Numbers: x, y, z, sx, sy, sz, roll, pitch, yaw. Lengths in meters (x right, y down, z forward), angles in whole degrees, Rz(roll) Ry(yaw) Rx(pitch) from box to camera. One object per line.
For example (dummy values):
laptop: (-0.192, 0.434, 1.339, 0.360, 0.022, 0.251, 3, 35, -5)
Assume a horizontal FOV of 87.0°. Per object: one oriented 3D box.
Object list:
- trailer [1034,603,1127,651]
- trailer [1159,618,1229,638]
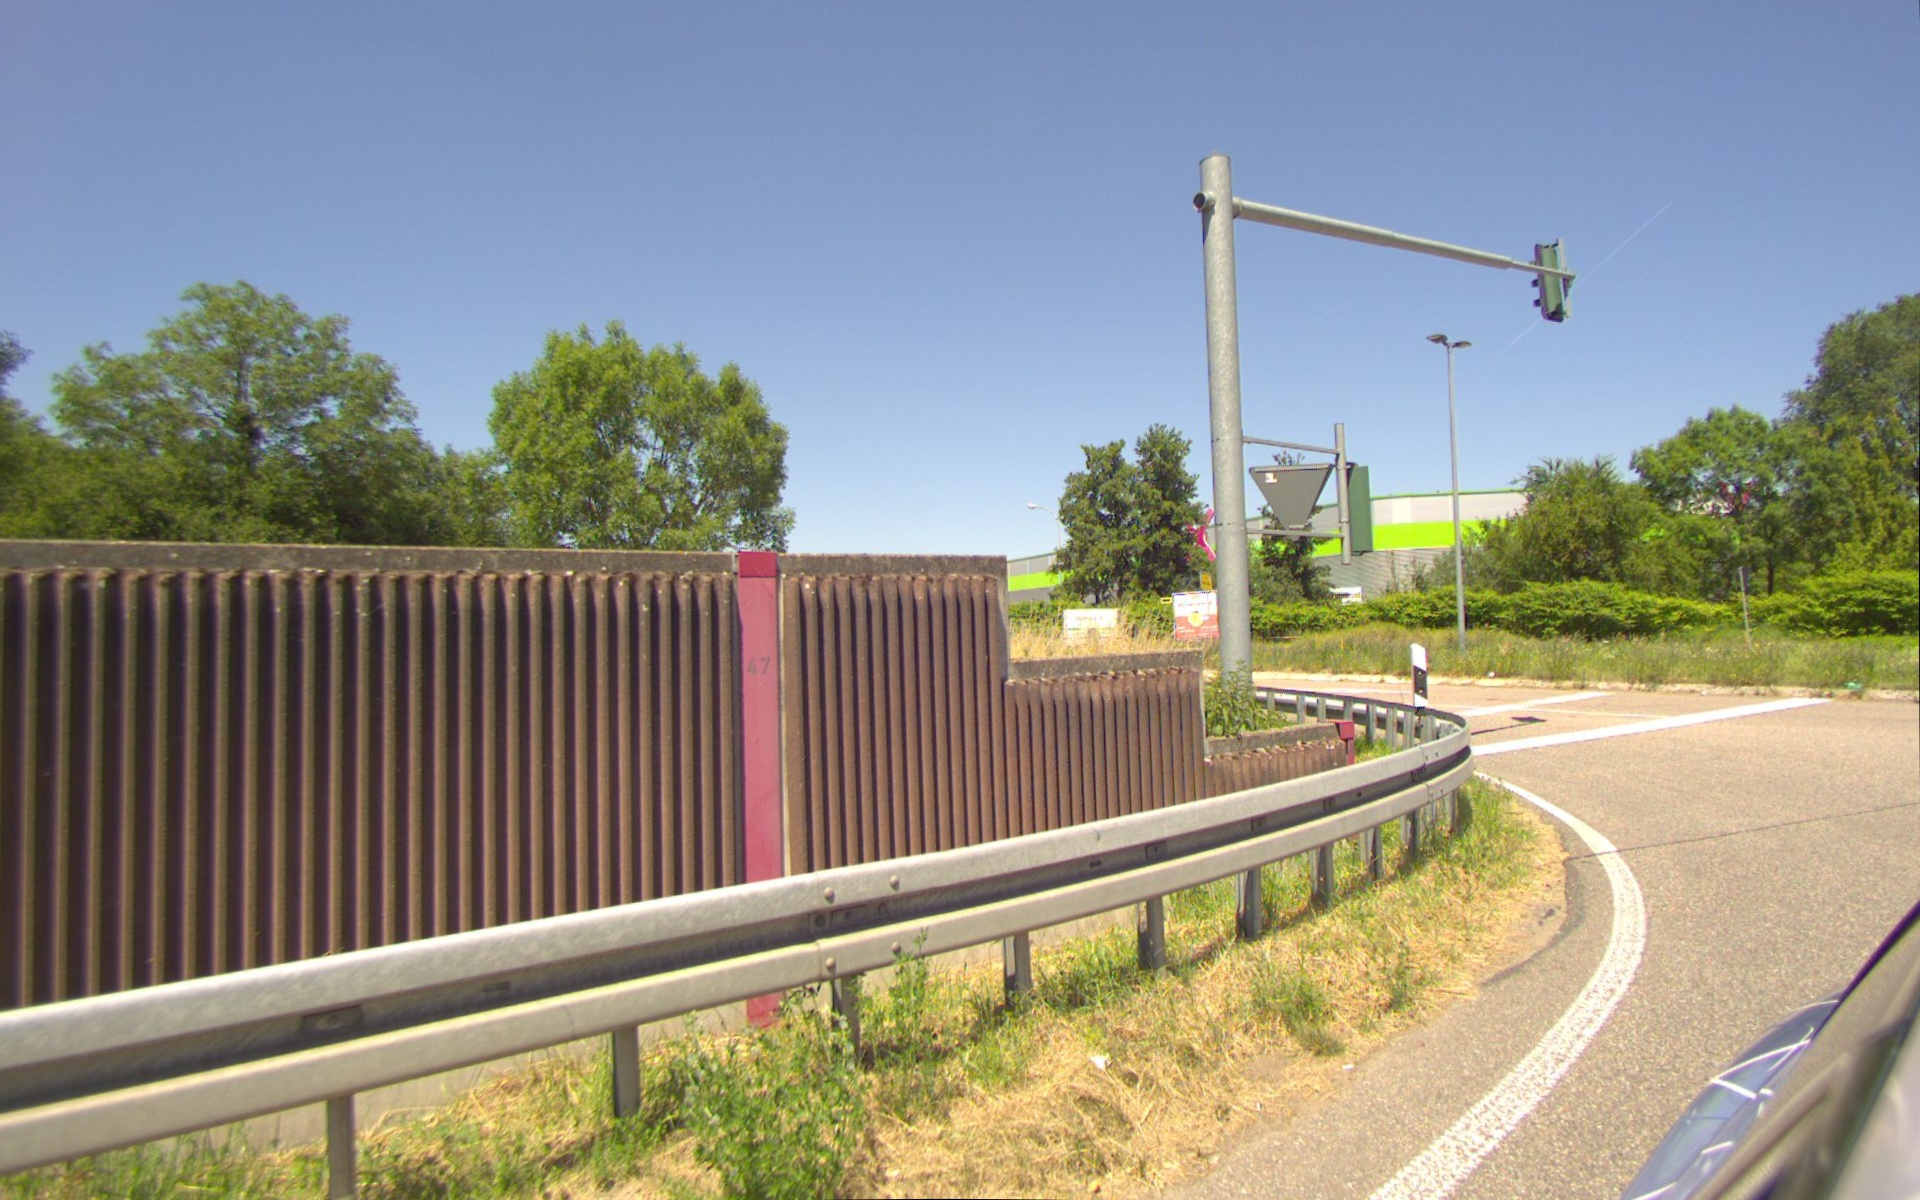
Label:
trailer: (5.615, 1.254, 47.071, 3.914, 2.039, 1.842, -2, -1, 23)
trailer: (10.508, 1.254, 45.380, 2.819, 0.748, 1.554, -2, 0, 23)
